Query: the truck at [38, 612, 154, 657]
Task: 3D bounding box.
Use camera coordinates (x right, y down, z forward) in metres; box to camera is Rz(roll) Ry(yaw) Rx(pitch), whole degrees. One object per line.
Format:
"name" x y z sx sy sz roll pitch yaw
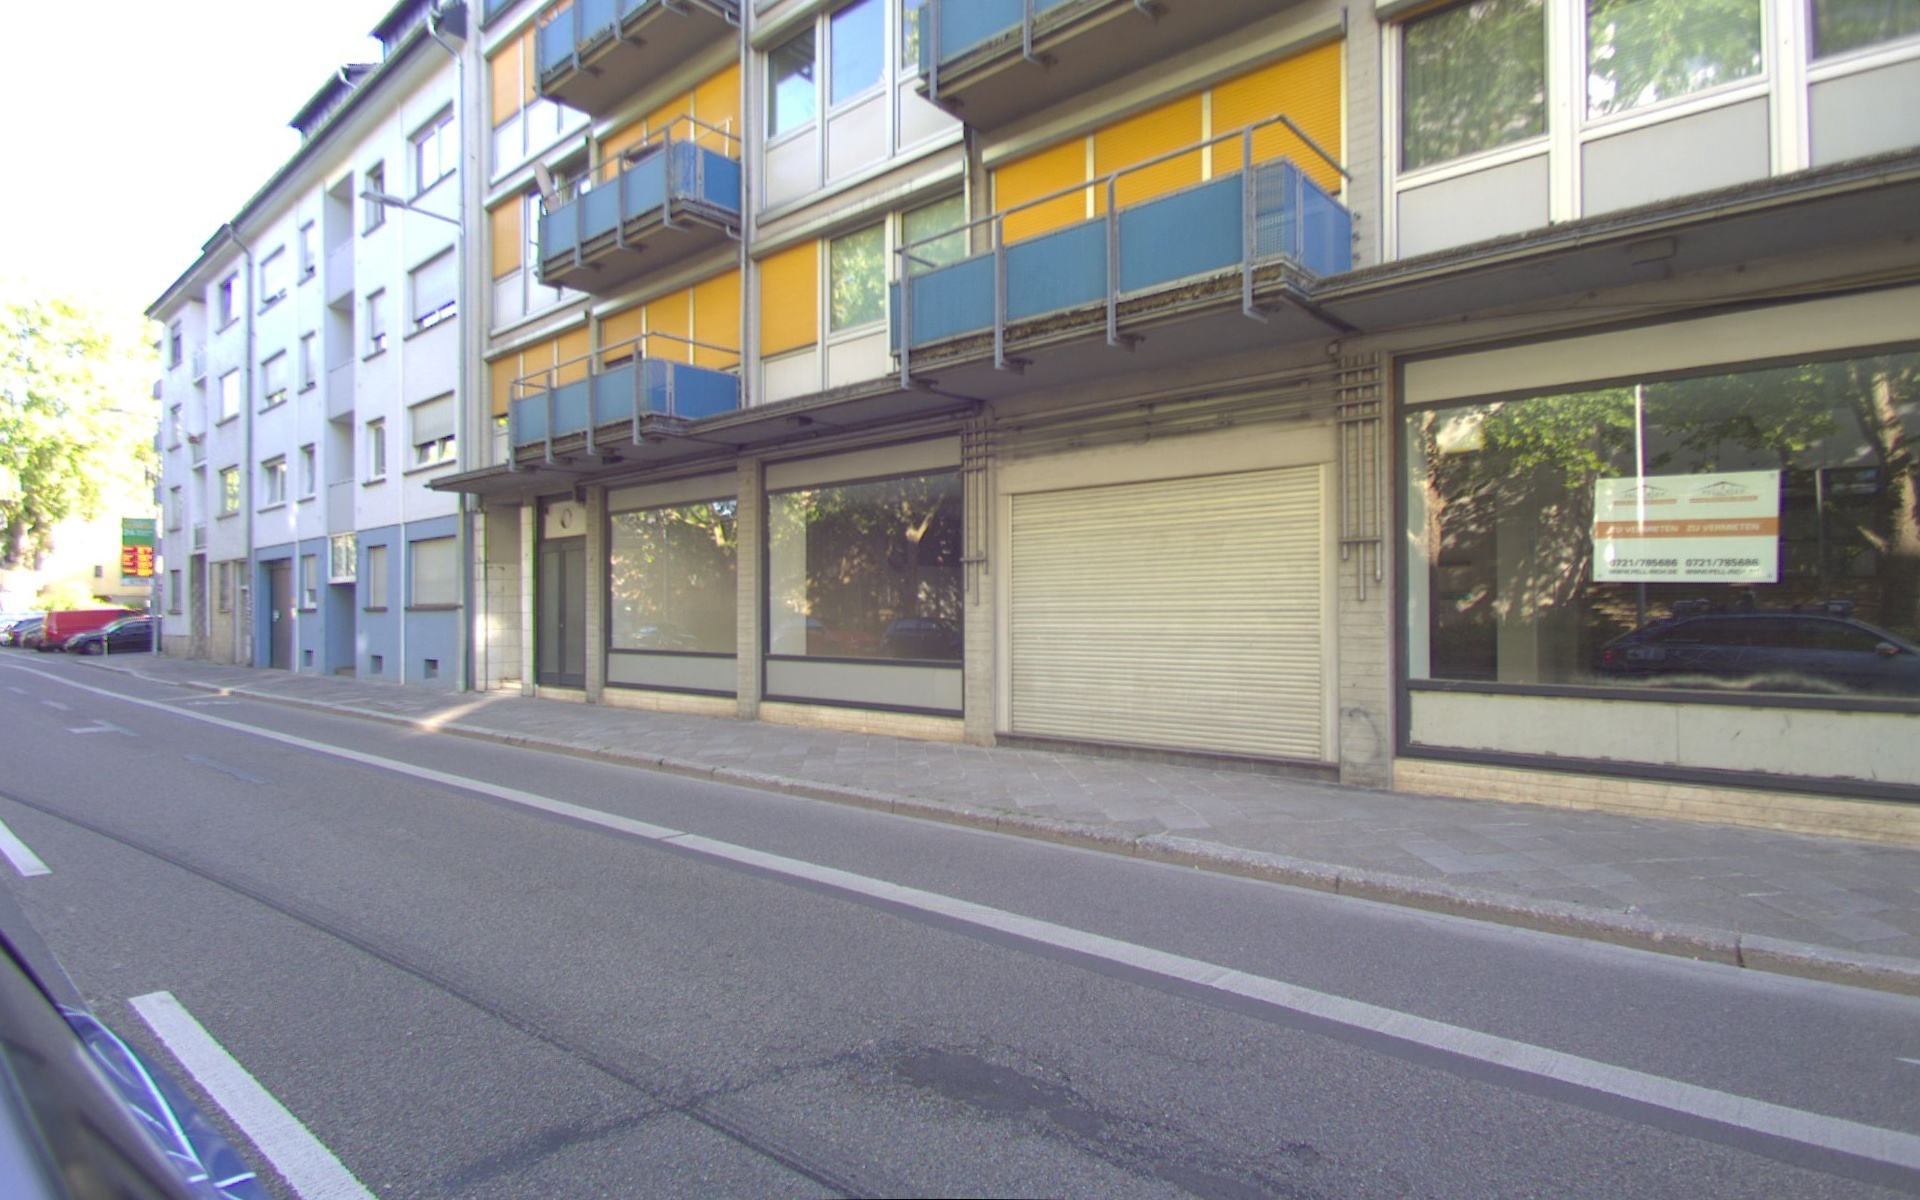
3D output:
"truck" -40.496 1.578 47.490 1.761 1.951 3.944 -1 0 42

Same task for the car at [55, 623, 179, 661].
"car" -36.624 1.769 44.010 1.761 1.468 3.944 -1 0 42

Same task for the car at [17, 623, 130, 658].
"car" -42.906 1.911 49.037 1.761 1.514 3.944 -1 0 42

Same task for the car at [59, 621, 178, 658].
"car" -38.105 1.765 45.898 1.761 1.514 3.944 -1 0 42
